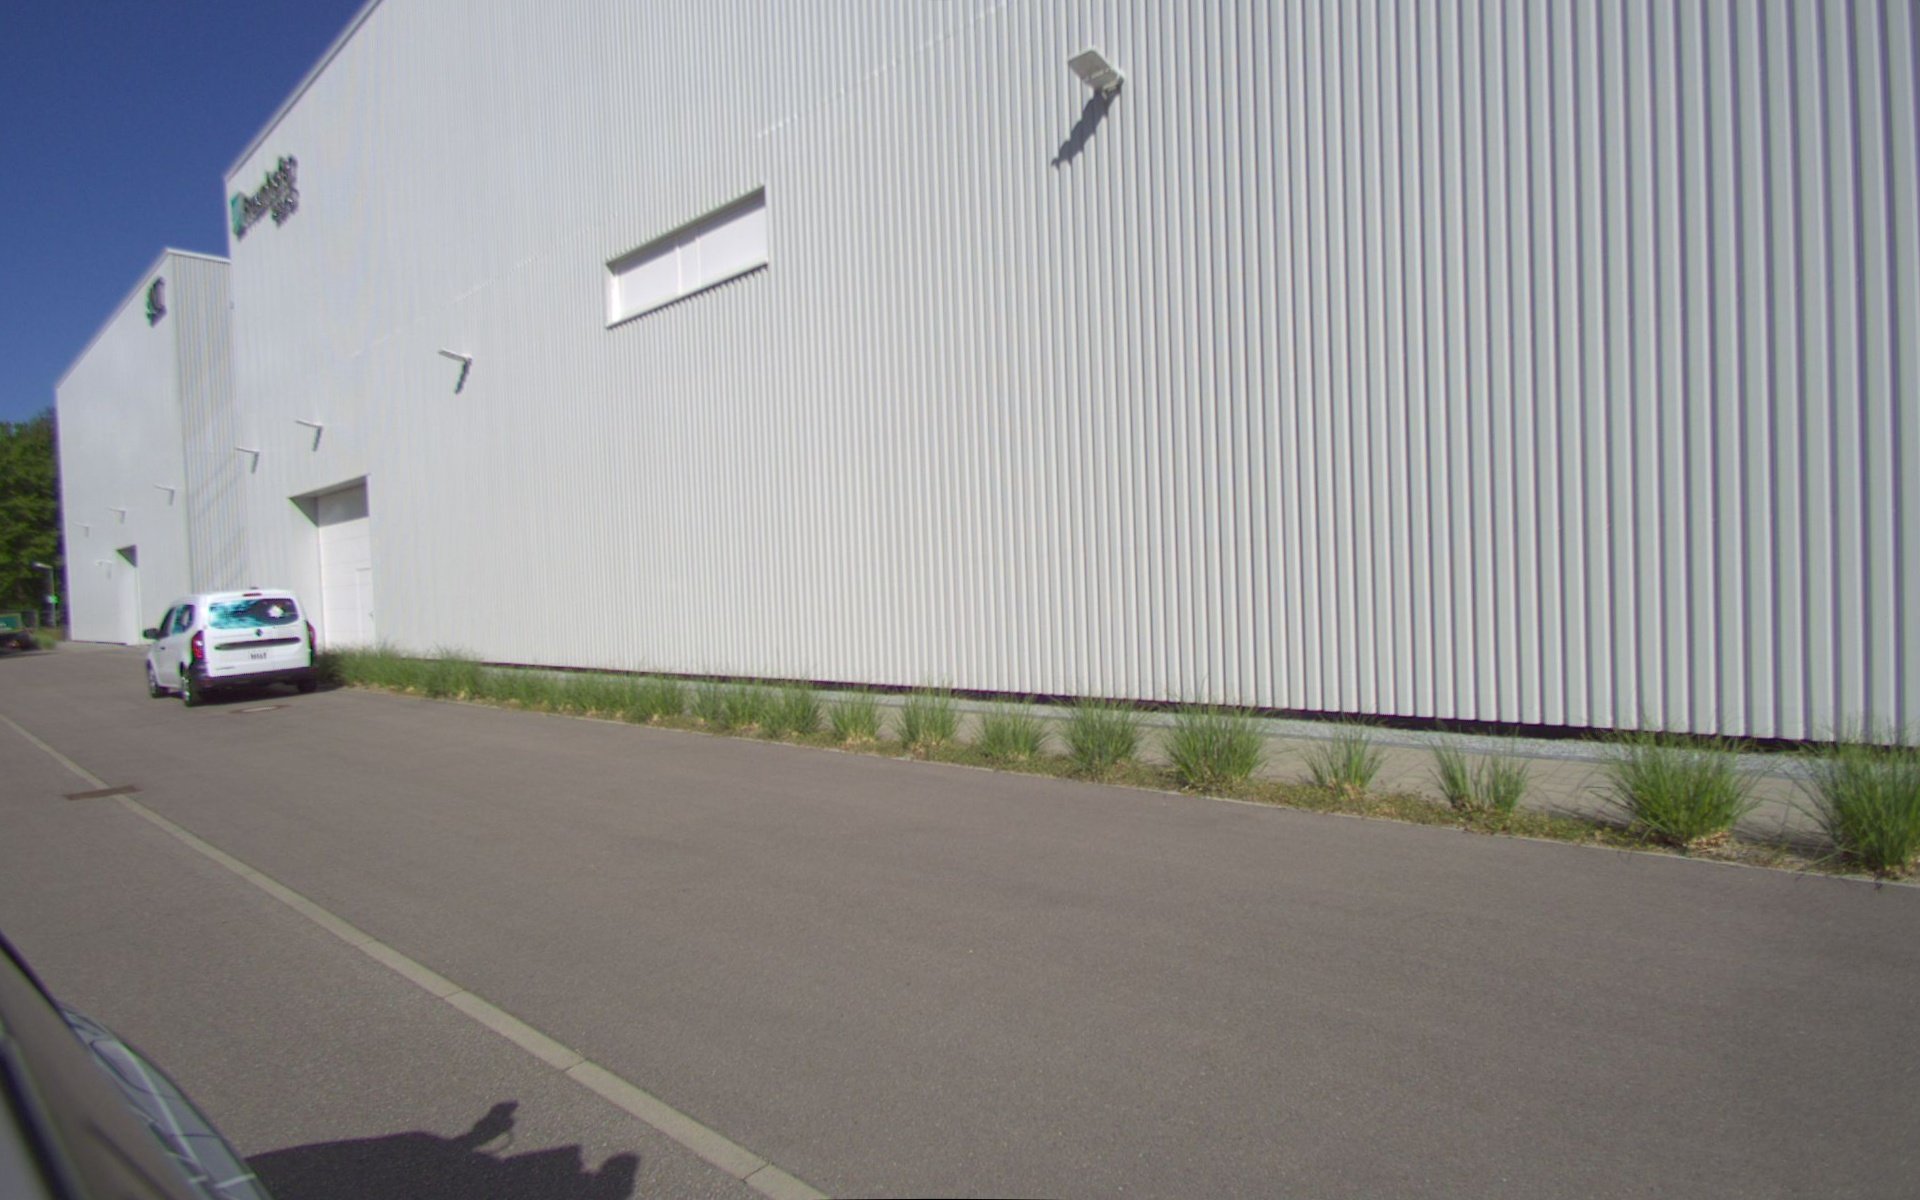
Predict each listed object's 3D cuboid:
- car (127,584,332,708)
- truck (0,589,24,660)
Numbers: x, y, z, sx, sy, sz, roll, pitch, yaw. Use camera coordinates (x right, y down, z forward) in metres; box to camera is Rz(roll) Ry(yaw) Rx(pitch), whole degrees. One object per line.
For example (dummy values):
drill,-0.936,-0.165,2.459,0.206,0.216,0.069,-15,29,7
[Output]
car,-12.884,0.747,17.726,4.597,1.803,1.908,-2,2,42
truck,-42.188,1.205,41.576,9.655,2.736,2.564,-2,3,30
